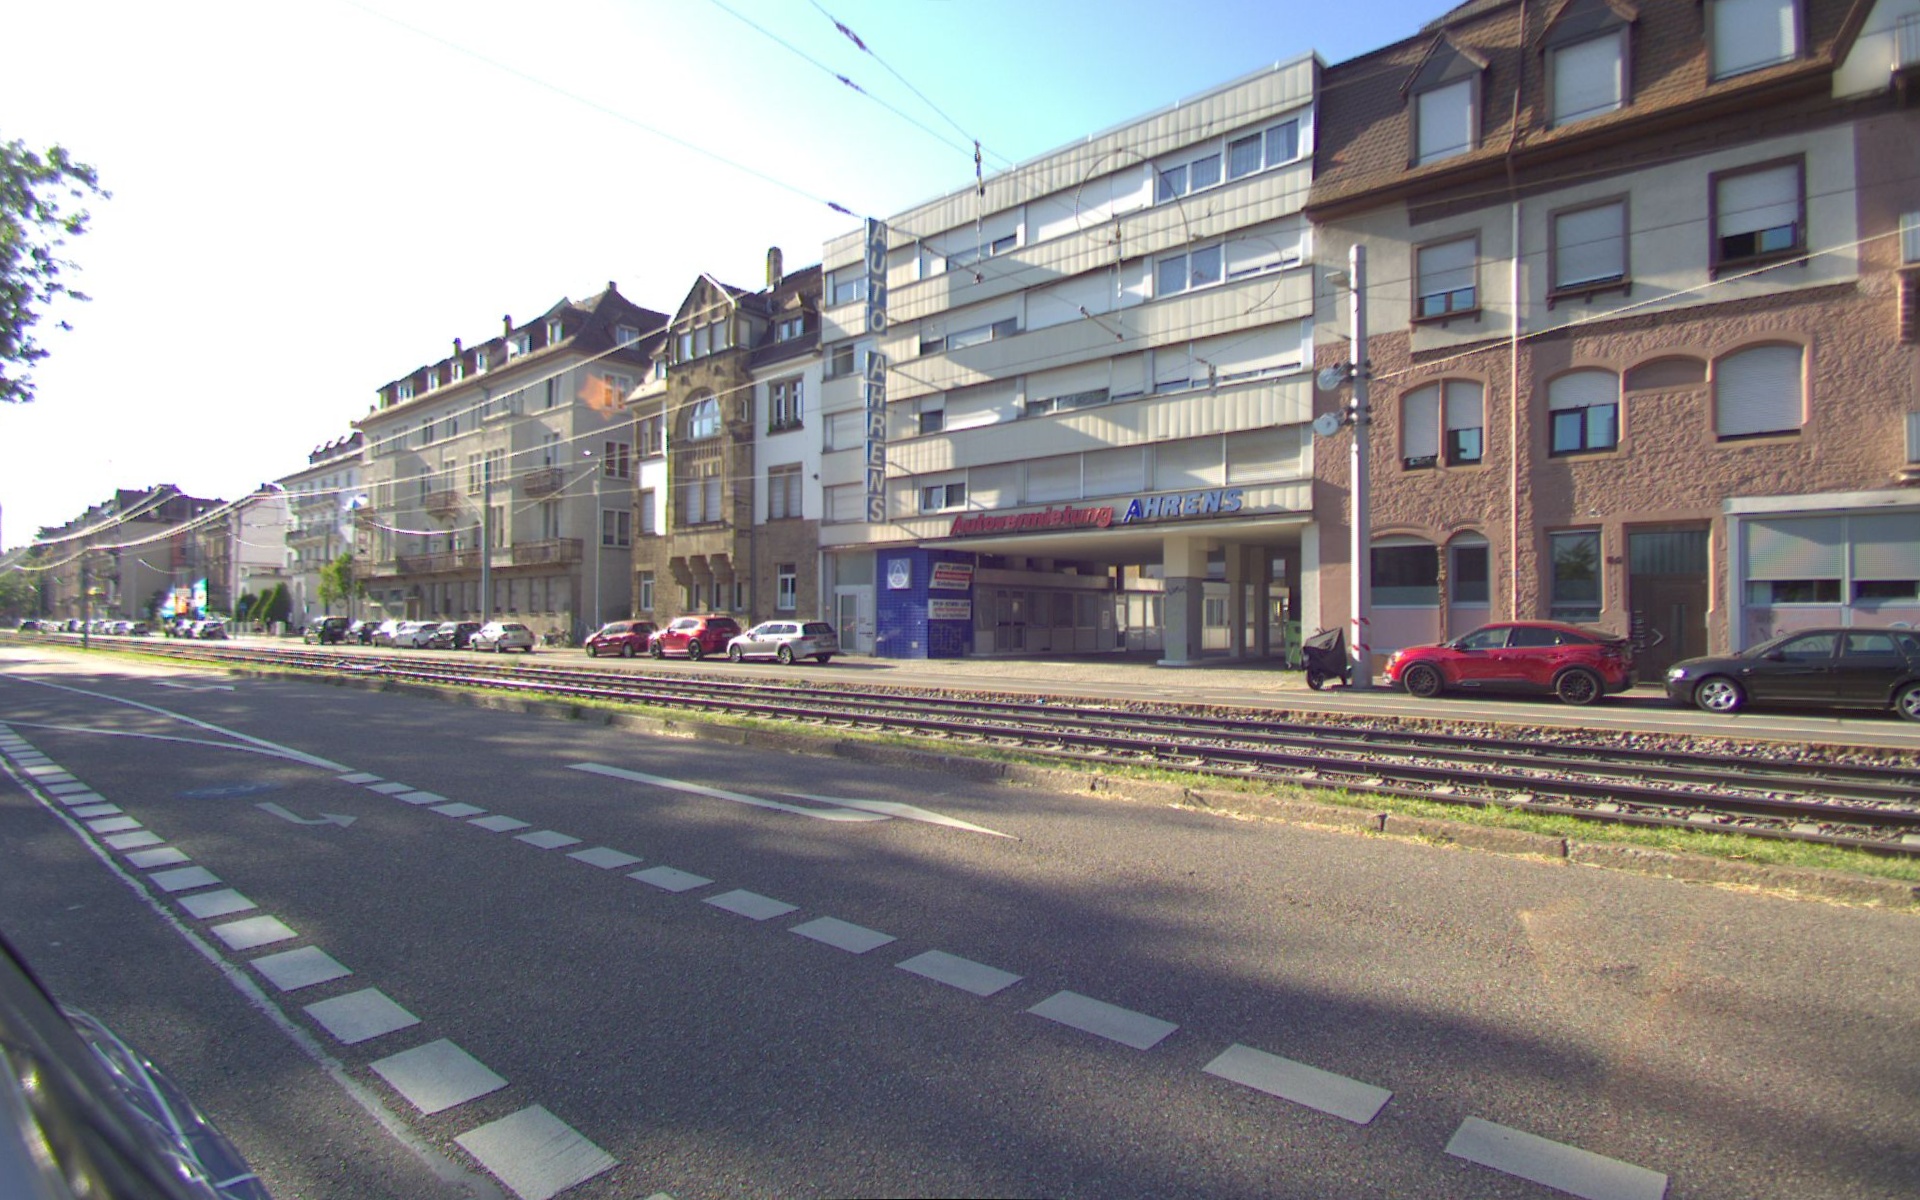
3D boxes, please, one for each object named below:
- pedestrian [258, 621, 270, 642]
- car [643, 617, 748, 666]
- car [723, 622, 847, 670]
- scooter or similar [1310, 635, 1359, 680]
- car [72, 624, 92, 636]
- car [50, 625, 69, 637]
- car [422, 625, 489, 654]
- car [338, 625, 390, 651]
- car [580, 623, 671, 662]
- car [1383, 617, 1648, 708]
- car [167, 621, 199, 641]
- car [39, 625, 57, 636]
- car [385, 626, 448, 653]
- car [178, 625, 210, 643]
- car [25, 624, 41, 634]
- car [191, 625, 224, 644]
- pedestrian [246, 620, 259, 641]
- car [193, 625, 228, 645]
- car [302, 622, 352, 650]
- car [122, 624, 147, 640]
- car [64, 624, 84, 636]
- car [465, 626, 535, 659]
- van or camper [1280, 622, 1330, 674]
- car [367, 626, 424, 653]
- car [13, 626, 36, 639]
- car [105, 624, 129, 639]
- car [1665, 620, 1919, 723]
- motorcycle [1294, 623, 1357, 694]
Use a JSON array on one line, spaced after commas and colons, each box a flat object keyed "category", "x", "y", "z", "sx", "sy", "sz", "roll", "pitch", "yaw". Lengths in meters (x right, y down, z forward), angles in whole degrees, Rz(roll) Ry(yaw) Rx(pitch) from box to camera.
[{"category": "pedestrian", "x": -59.643, "y": 2.707, "z": 86.710, "sx": 0.677, "sy": 1.803, "sz": 0.716, "roll": -1, "pitch": -2, "yaw": 41}, {"category": "car", "x": -10.096, "y": 1.537, "z": 38.426, "sx": 4.262, "sy": 1.700, "sz": 1.836, "roll": -2, "pitch": 0, "yaw": 43}, {"category": "car", "x": -6.082, "y": 1.535, "z": 34.884, "sx": 4.379, "sy": 1.510, "sz": 1.837, "roll": -1, "pitch": 0, "yaw": 41}, {"category": "scooter or similar", "x": 9.291, "y": 1.415, "z": 25.137, "sx": 1.121, "sy": 1.077, "sz": 0.202, "roll": -2, "pitch": -1, "yaw": 42}, {"category": "car", "x": -117.552, "y": 4.030, "z": 135.472, "sx": 3.449, "sy": 1.602, "sz": 1.603, "roll": -1, "pitch": 0, "yaw": 42}, {"category": "car", "x": -127.412, "y": 4.389, "z": 143.159, "sx": 3.449, "sy": 1.602, "sz": 1.603, "roll": -1, "pitch": 0, "yaw": 42}, {"category": "car", "x": -26.669, "y": 2.084, "z": 53.477, "sx": 3.820, "sy": 1.441, "sz": 1.779, "roll": -1, "pitch": -1, "yaw": 40}, {"category": "car", "x": -37.528, "y": 2.366, "z": 63.687, "sx": 3.822, "sy": 1.490, "sz": 1.778, "roll": -1, "pitch": -1, "yaw": 42}, {"category": "car", "x": -13.857, "y": 1.738, "z": 41.858, "sx": 3.722, "sy": 1.507, "sz": 1.736, "roll": -1, "pitch": 0, "yaw": 36}, {"category": "car", "x": 10.712, "y": 1.137, "z": 19.680, "sx": 4.208, "sy": 1.510, "sz": 1.837, "roll": -1, "pitch": 1, "yaw": 41}, {"category": "car", "x": -73.336, "y": 2.910, "z": 95.534, "sx": 3.879, "sy": 1.800, "sz": 1.705, "roll": -1, "pitch": 0, "yaw": 42}, {"category": "car", "x": -135.381, "y": 4.476, "z": 150.209, "sx": 3.449, "sy": 1.602, "sz": 1.603, "roll": -1, "pitch": 0, "yaw": 42}, {"category": "car", "x": -30.026, "y": 2.167, "z": 55.913, "sx": 3.531, "sy": 1.457, "sz": 1.624, "roll": -1, "pitch": -1, "yaw": 35}, {"category": "car", "x": -69.125, "y": 3.033, "z": 91.343, "sx": 3.387, "sy": 1.583, "sz": 1.662, "roll": -1, "pitch": 0, "yaw": 42}, {"category": "car", "x": -154.844, "y": 4.811, "z": 168.991, "sx": 3.449, "sy": 1.602, "sz": 1.603, "roll": -1, "pitch": 0, "yaw": 42}, {"category": "car", "x": -65.727, "y": 2.992, "z": 88.332, "sx": 3.387, "sy": 1.583, "sz": 1.662, "roll": -1, "pitch": 0, "yaw": 42}, {"category": "pedestrian", "x": -60.218, "y": 2.587, "z": 86.172, "sx": 0.677, "sy": 1.803, "sz": 0.716, "roll": -1, "pitch": -2, "yaw": 41}, {"category": "car", "x": -62.152, "y": 2.892, "z": 83.922, "sx": 3.407, "sy": 1.644, "sz": 1.655, "roll": -1, "pitch": -1, "yaw": 42}, {"category": "car", "x": -41.991, "y": 2.373, "z": 67.093, "sx": 3.914, "sy": 1.750, "sz": 1.851, "roll": -1, "pitch": -1, "yaw": 42}, {"category": "car", "x": -88.830, "y": 3.427, "z": 108.902, "sx": 3.449, "sy": 1.602, "sz": 1.603, "roll": -1, "pitch": 0, "yaw": 42}, {"category": "car", "x": -121.348, "y": 4.117, "z": 138.560, "sx": 3.449, "sy": 1.602, "sz": 1.603, "roll": -1, "pitch": 0, "yaw": 42}, {"category": "car", "x": -22.682, "y": 2.063, "z": 49.857, "sx": 3.822, "sy": 1.490, "sz": 1.778, "roll": -1, "pitch": -1, "yaw": 42}, {"category": "van or camper", "x": 9.375, "y": 1.283, "z": 27.477, "sx": 0.803, "sy": 1.368, "sz": 1.409, "roll": -1, "pitch": -2, "yaw": 41}, {"category": "car", "x": -33.287, "y": 2.287, "z": 59.645, "sx": 3.822, "sy": 1.490, "sz": 1.778, "roll": -1, "pitch": -1, "yaw": 42}, {"category": "car", "x": -124.135, "y": 4.324, "z": 134.261, "sx": 3.999, "sy": 1.697, "sz": 1.798, "roll": -1, "pitch": -2, "yaw": 42}, {"category": "car", "x": -95.711, "y": 3.573, "z": 114.921, "sx": 3.449, "sy": 1.602, "sz": 1.603, "roll": -1, "pitch": 0, "yaw": 42}, {"category": "car", "x": 13.936, "y": 1.095, "z": 16.437, "sx": 3.926, "sy": 1.448, "sz": 1.678, "roll": -1, "pitch": 1, "yaw": 41}, {"category": "motorcycle", "x": 8.040, "y": 1.266, "z": 22.240, "sx": 0.628, "sy": 1.433, "sz": 1.835, "roll": -3, "pitch": -1, "yaw": 42}]
